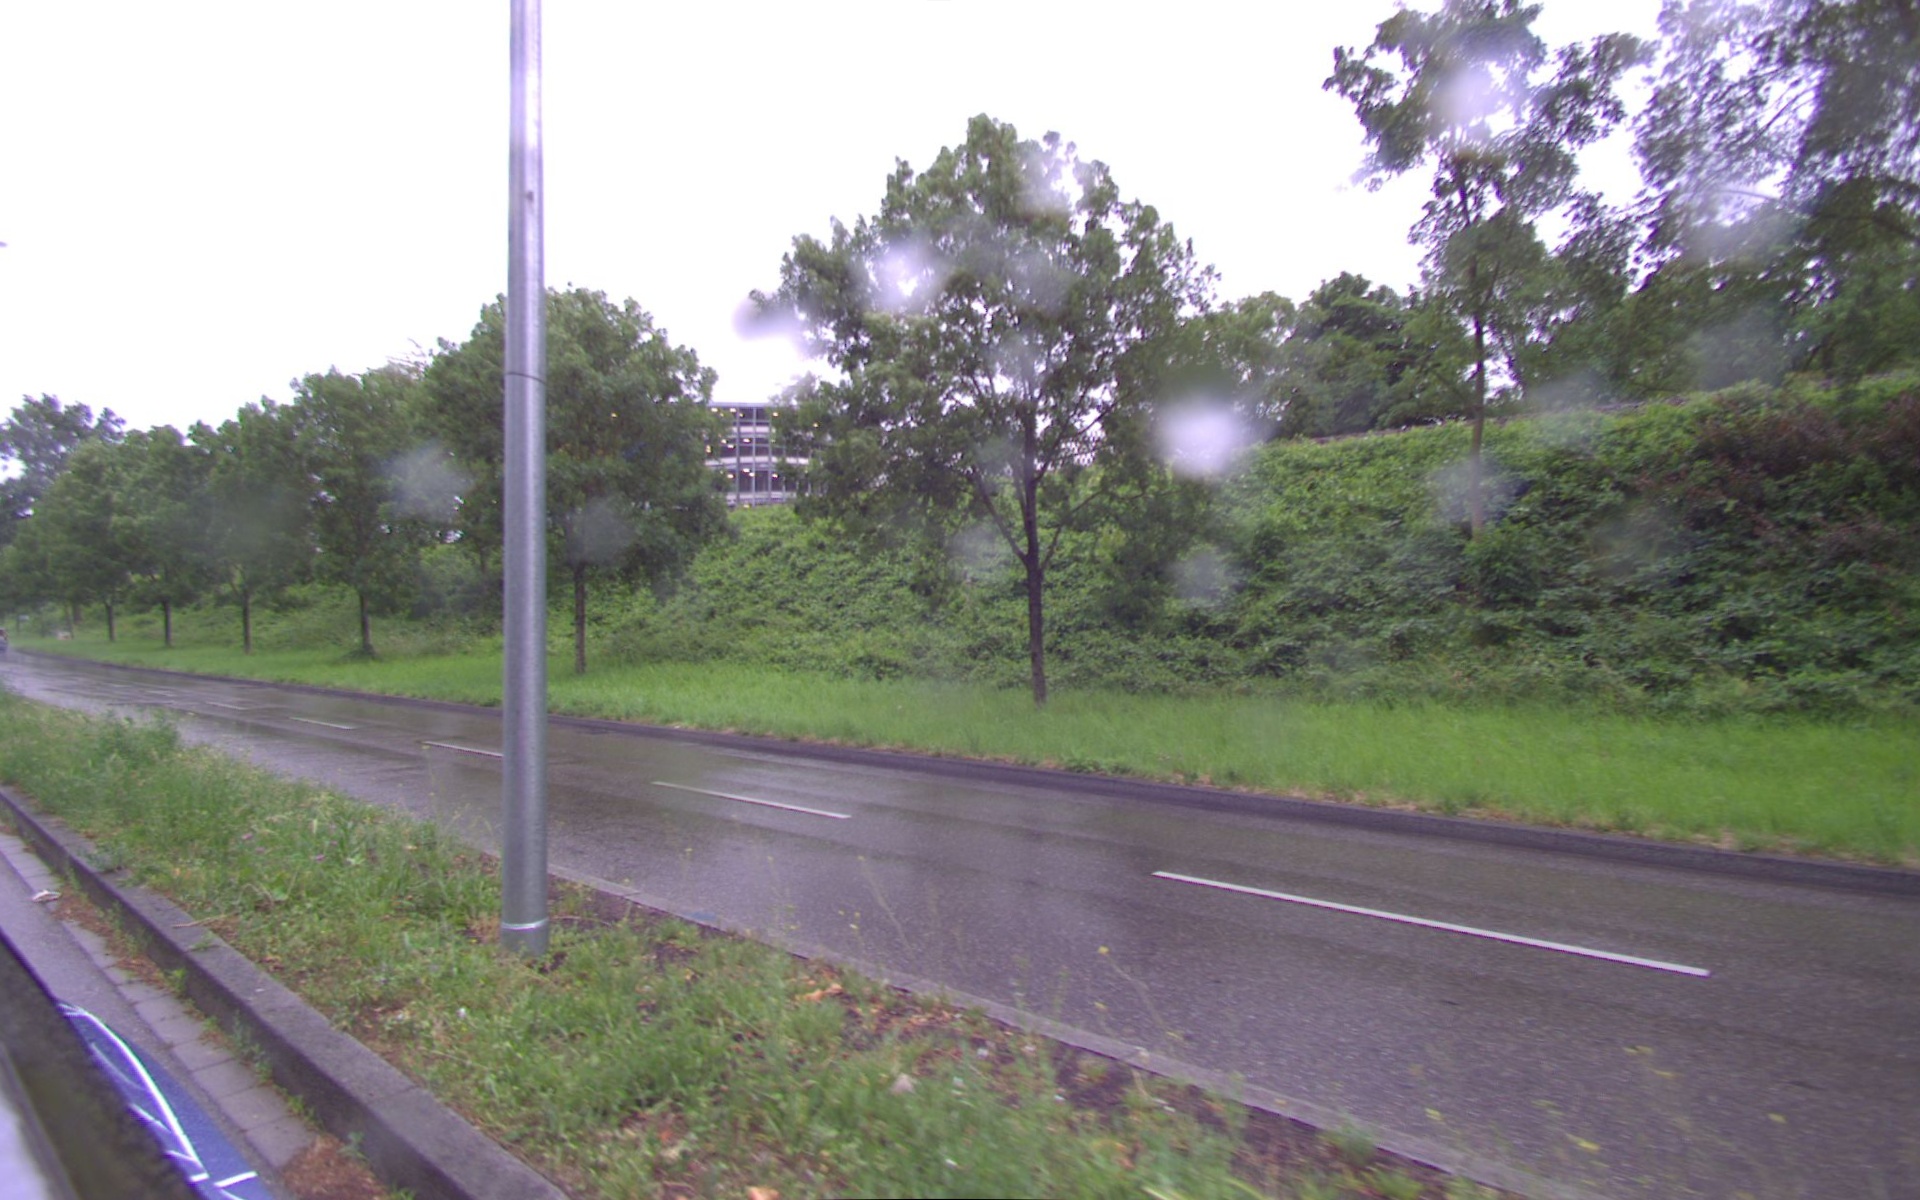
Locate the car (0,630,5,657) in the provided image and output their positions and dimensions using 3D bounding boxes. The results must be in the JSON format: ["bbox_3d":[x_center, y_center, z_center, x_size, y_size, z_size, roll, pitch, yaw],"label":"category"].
[{"bbox_3d":[-59.432,2.637,61.501,3.846,1.630,1.678,-1,-2,42],"label":"car"}]
